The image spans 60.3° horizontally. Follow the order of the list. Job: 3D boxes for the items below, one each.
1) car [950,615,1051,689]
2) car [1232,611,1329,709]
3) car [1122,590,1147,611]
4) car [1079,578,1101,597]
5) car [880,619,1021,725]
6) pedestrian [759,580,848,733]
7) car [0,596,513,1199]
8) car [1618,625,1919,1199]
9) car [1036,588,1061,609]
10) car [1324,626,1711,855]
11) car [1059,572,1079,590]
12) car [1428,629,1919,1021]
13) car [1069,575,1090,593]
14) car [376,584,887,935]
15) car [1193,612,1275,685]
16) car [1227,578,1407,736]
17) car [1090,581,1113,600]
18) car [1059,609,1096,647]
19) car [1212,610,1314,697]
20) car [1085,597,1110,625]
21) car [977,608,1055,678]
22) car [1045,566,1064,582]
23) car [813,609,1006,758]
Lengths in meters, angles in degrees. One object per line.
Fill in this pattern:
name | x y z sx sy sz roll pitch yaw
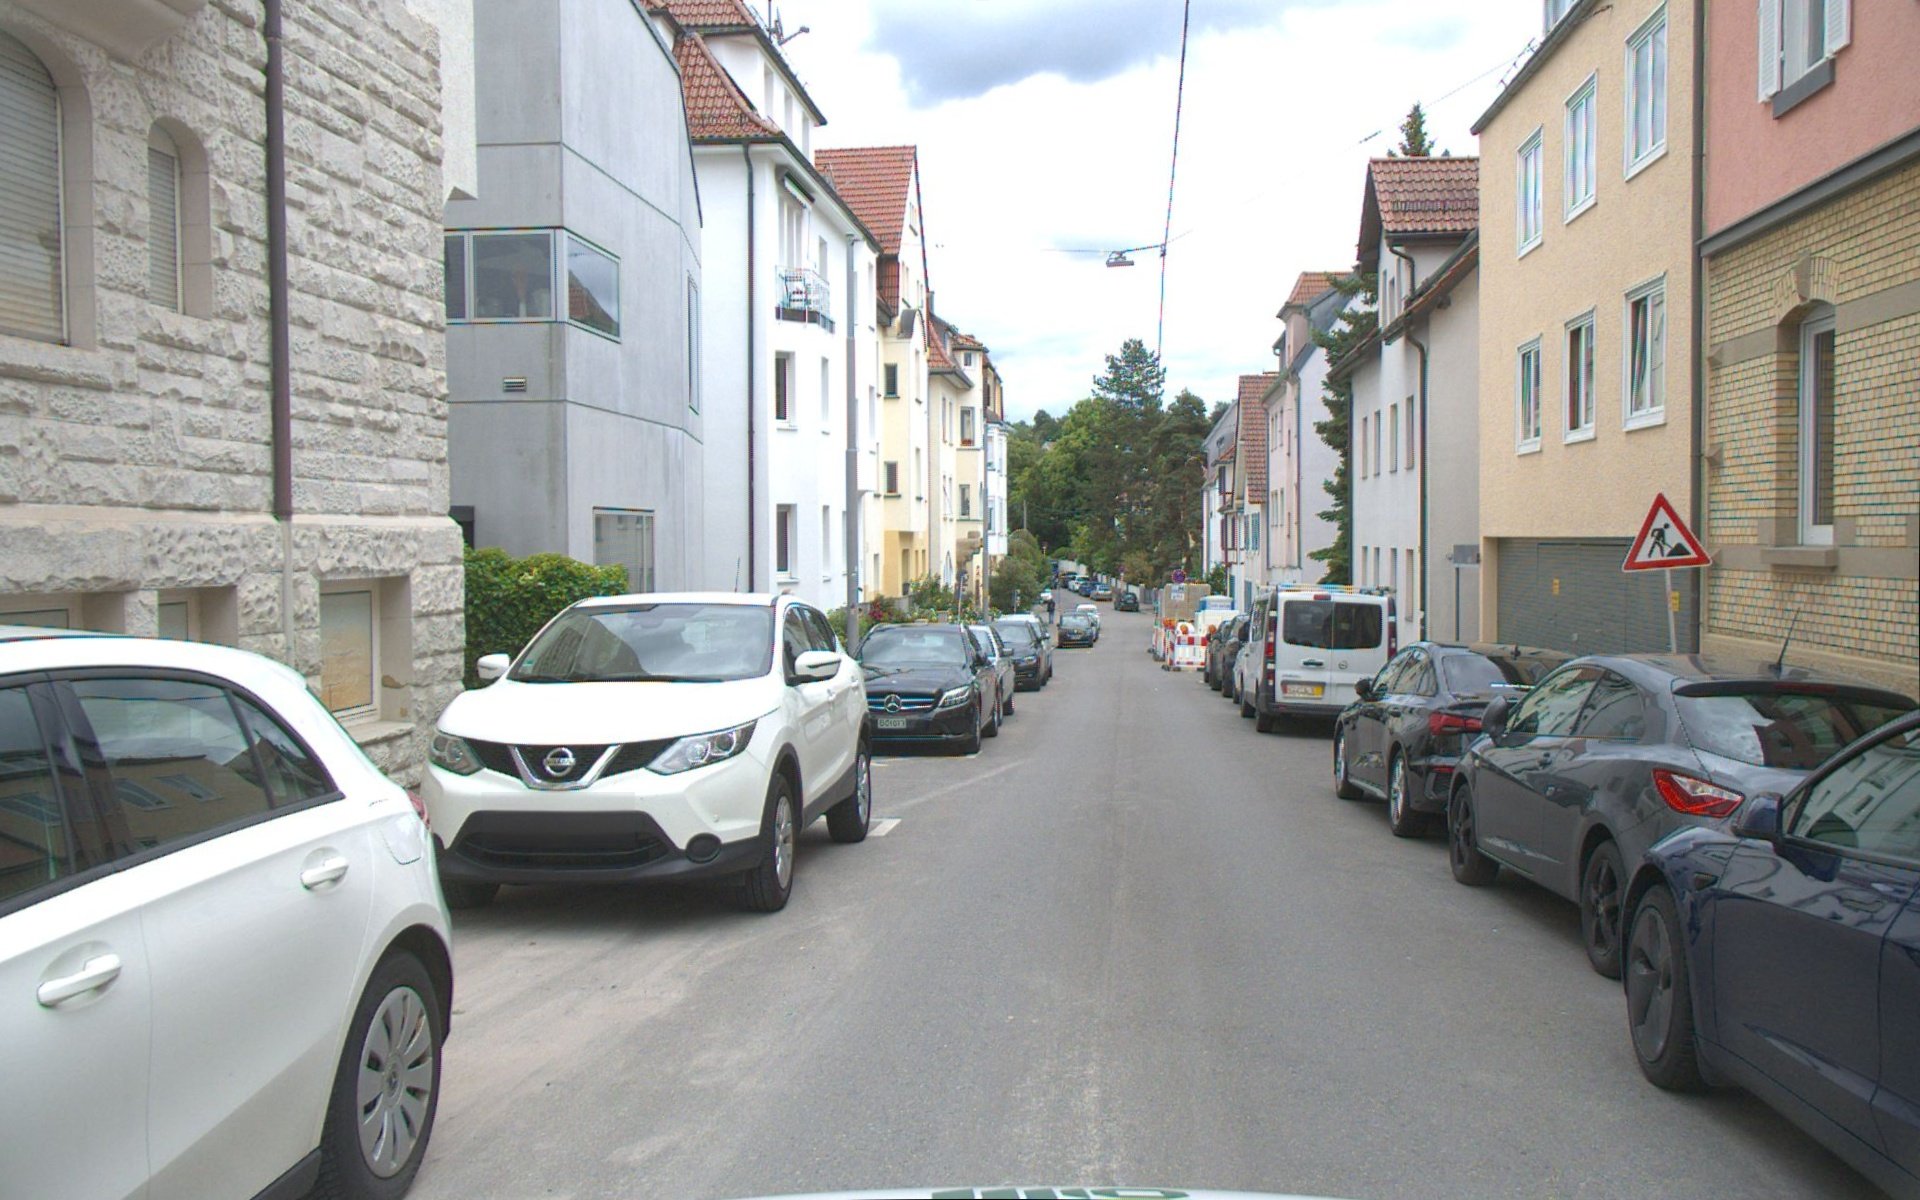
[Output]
car | 0.939 1.090 35.701 1.806 1.483 4.507 -1 -1 6
car | 5.695 1.036 29.634 1.455 1.624 2.793 2 0 6
car | 14.752 0.006 140.009 1.601 1.509 3.530 1 3 -2
car | 12.339 -1.188 157.024 1.601 1.509 3.529 1 3 -3
car | -0.044 1.029 25.546 1.806 1.437 5.064 0 0 4
pedestrian | -2.022 0.718 21.353 0.801 1.917 0.846 -1 -1 28
car | -2.205 0.715 2.480 1.663 1.439 4.242 0 0 4
car | 3.090 0.827 3.788 1.813 1.428 4.295 2 0 6
car | 8.010 -0.155 149.998 1.640 1.685 3.858 -1 3 -7
car | 4.129 0.967 13.064 1.813 1.428 4.577 2 -1 5
car | 11.132 -1.962 169.083 1.601 1.564 3.529 1 3 -3
car | 3.774 0.920 8.405 1.814 1.428 3.968 2 0 3
car | 11.783 -1.630 163.084 1.601 1.564 3.529 1 3 -3
car | -1.556 0.706 9.442 1.806 1.542 4.242 0 0 4
car | 6.482 1.106 39.447 1.679 1.593 4.076 2 0 6
car | 5.237 0.762 24.980 1.865 2.065 5.736 2 0 5
car | 13.035 -0.851 152.342 1.601 1.509 3.529 1 3 -3
car | 6.012 1.429 85.123 1.806 1.847 4.546 -1 -1 3
car | 6.197 1.049 34.224 1.677 1.624 4.501 2 0 5
car | 9.452 0.728 113.785 1.637 1.685 3.867 -1 3 5
car | 1.472 1.050 41.905 1.806 1.659 4.288 0 0 4
car | 10.477 -2.892 183.536 1.601 1.564 3.529 1 3 -3
car | -0.478 0.896 19.766 1.856 1.554 4.473 0 0 4
